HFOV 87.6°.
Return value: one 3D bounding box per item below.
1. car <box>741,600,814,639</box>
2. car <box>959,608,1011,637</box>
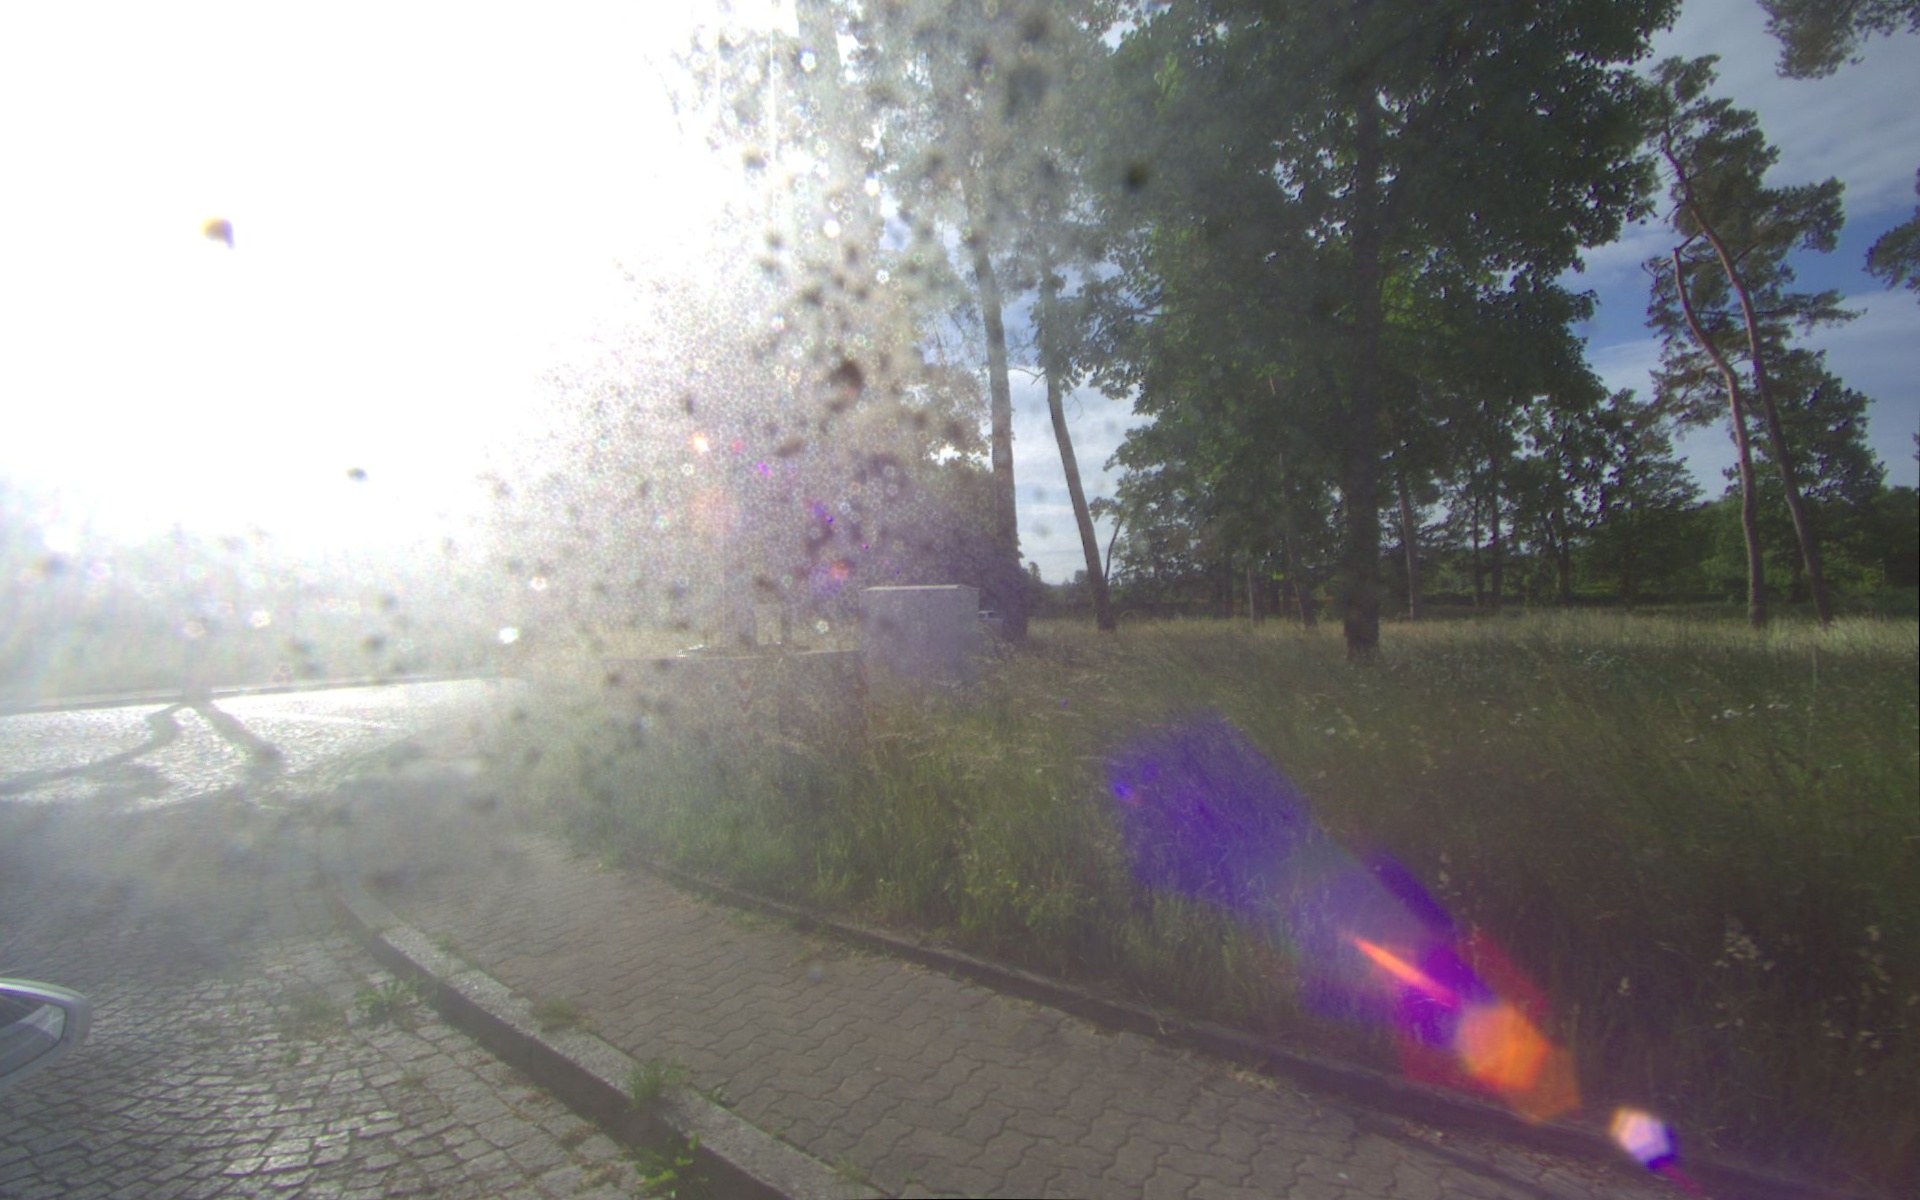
[{"bbox_3d":[-12.640,1.351,69.779,2.230,2.568,5.154,-1,-1,29],"label":"car"},{"bbox_3d":[1.610,1.396,62.817,1.827,1.701,3.932,-1,-1,25],"label":"car"}]
